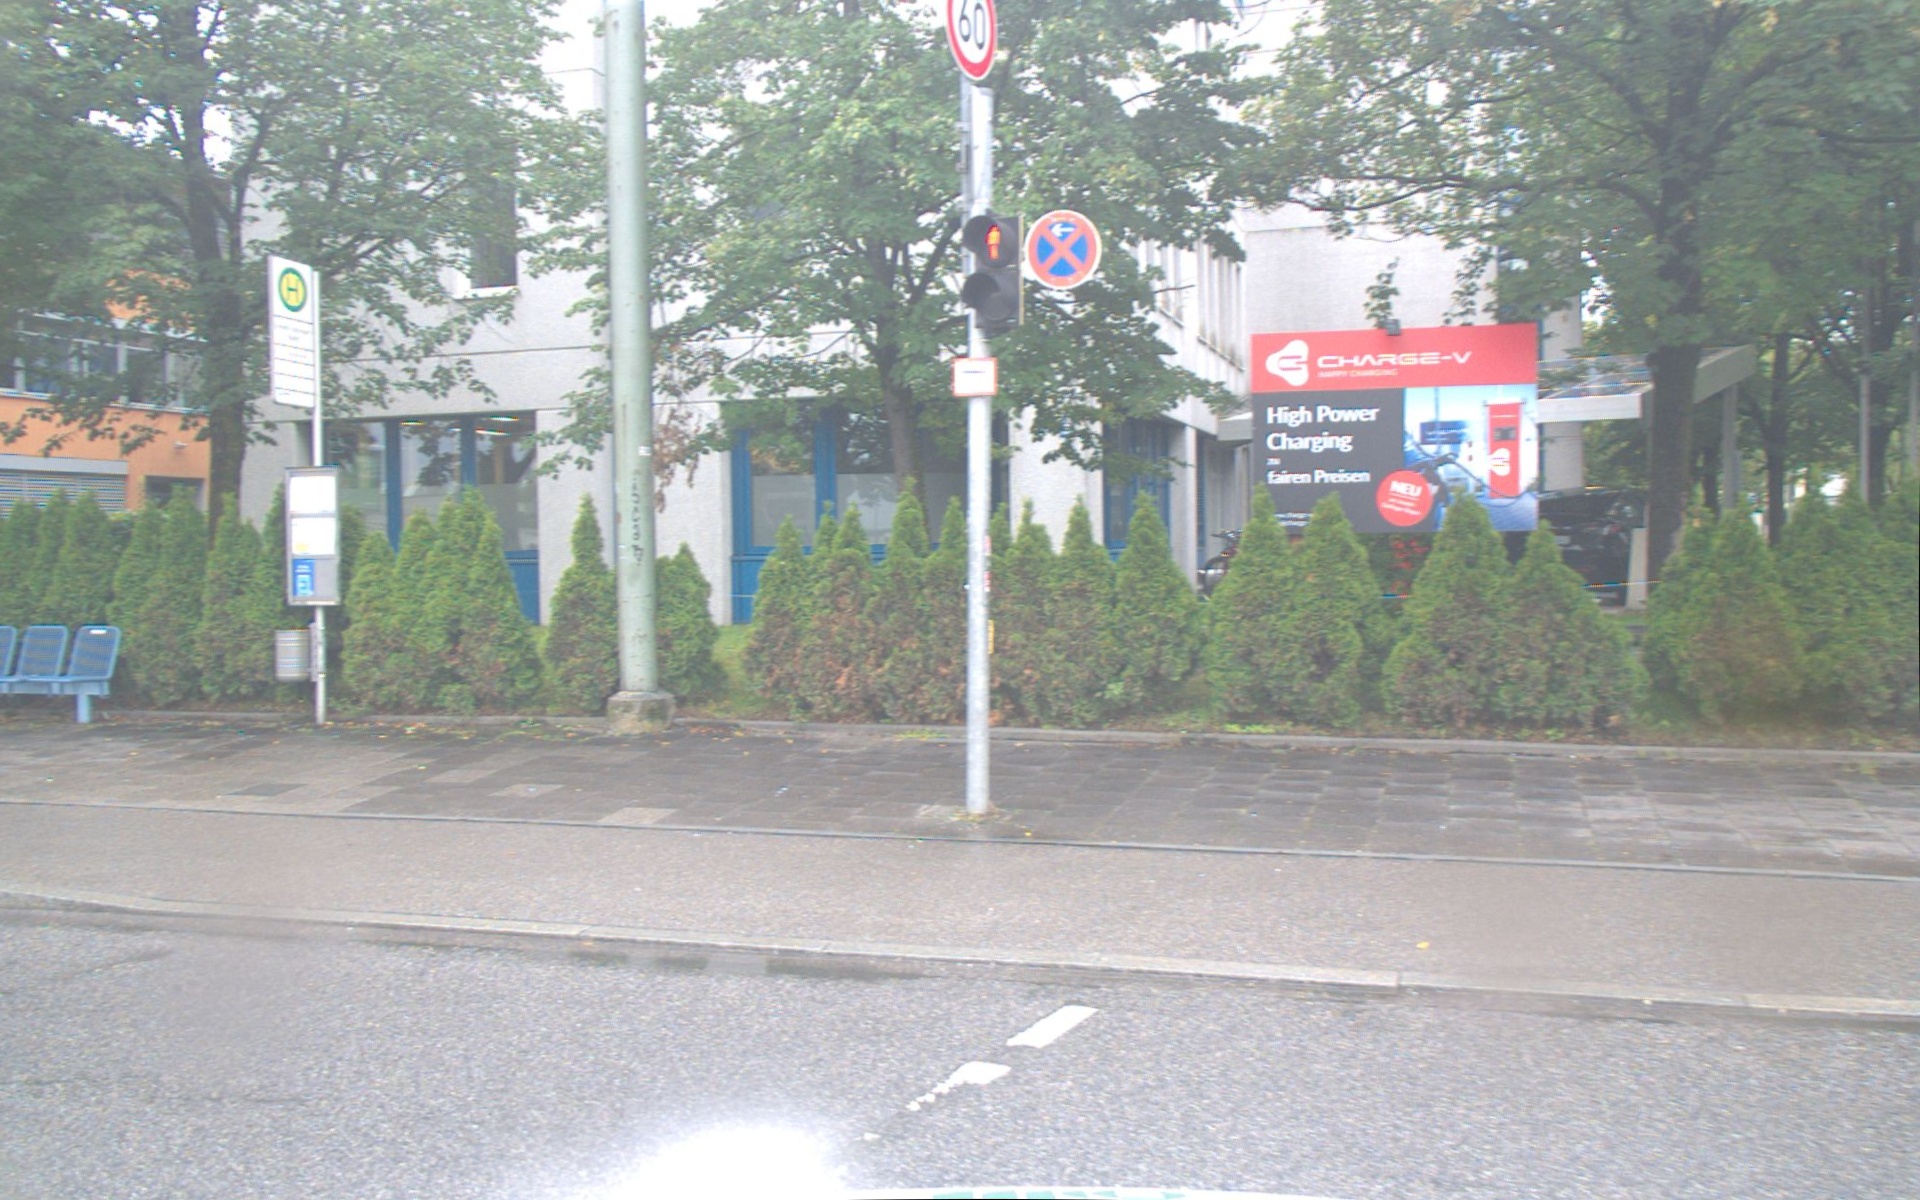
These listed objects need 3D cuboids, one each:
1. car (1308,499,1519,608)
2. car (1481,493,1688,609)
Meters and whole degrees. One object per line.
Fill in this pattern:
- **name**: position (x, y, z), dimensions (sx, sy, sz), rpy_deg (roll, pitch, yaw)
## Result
- **car**: position (6.874, -0.743, 24.779), dimensions (1.831, 1.443, 4.165), rpy_deg (1, 4, 34)
- **car**: position (8.877, -0.740, 23.316), dimensions (1.831, 1.443, 4.165), rpy_deg (1, 4, 34)
